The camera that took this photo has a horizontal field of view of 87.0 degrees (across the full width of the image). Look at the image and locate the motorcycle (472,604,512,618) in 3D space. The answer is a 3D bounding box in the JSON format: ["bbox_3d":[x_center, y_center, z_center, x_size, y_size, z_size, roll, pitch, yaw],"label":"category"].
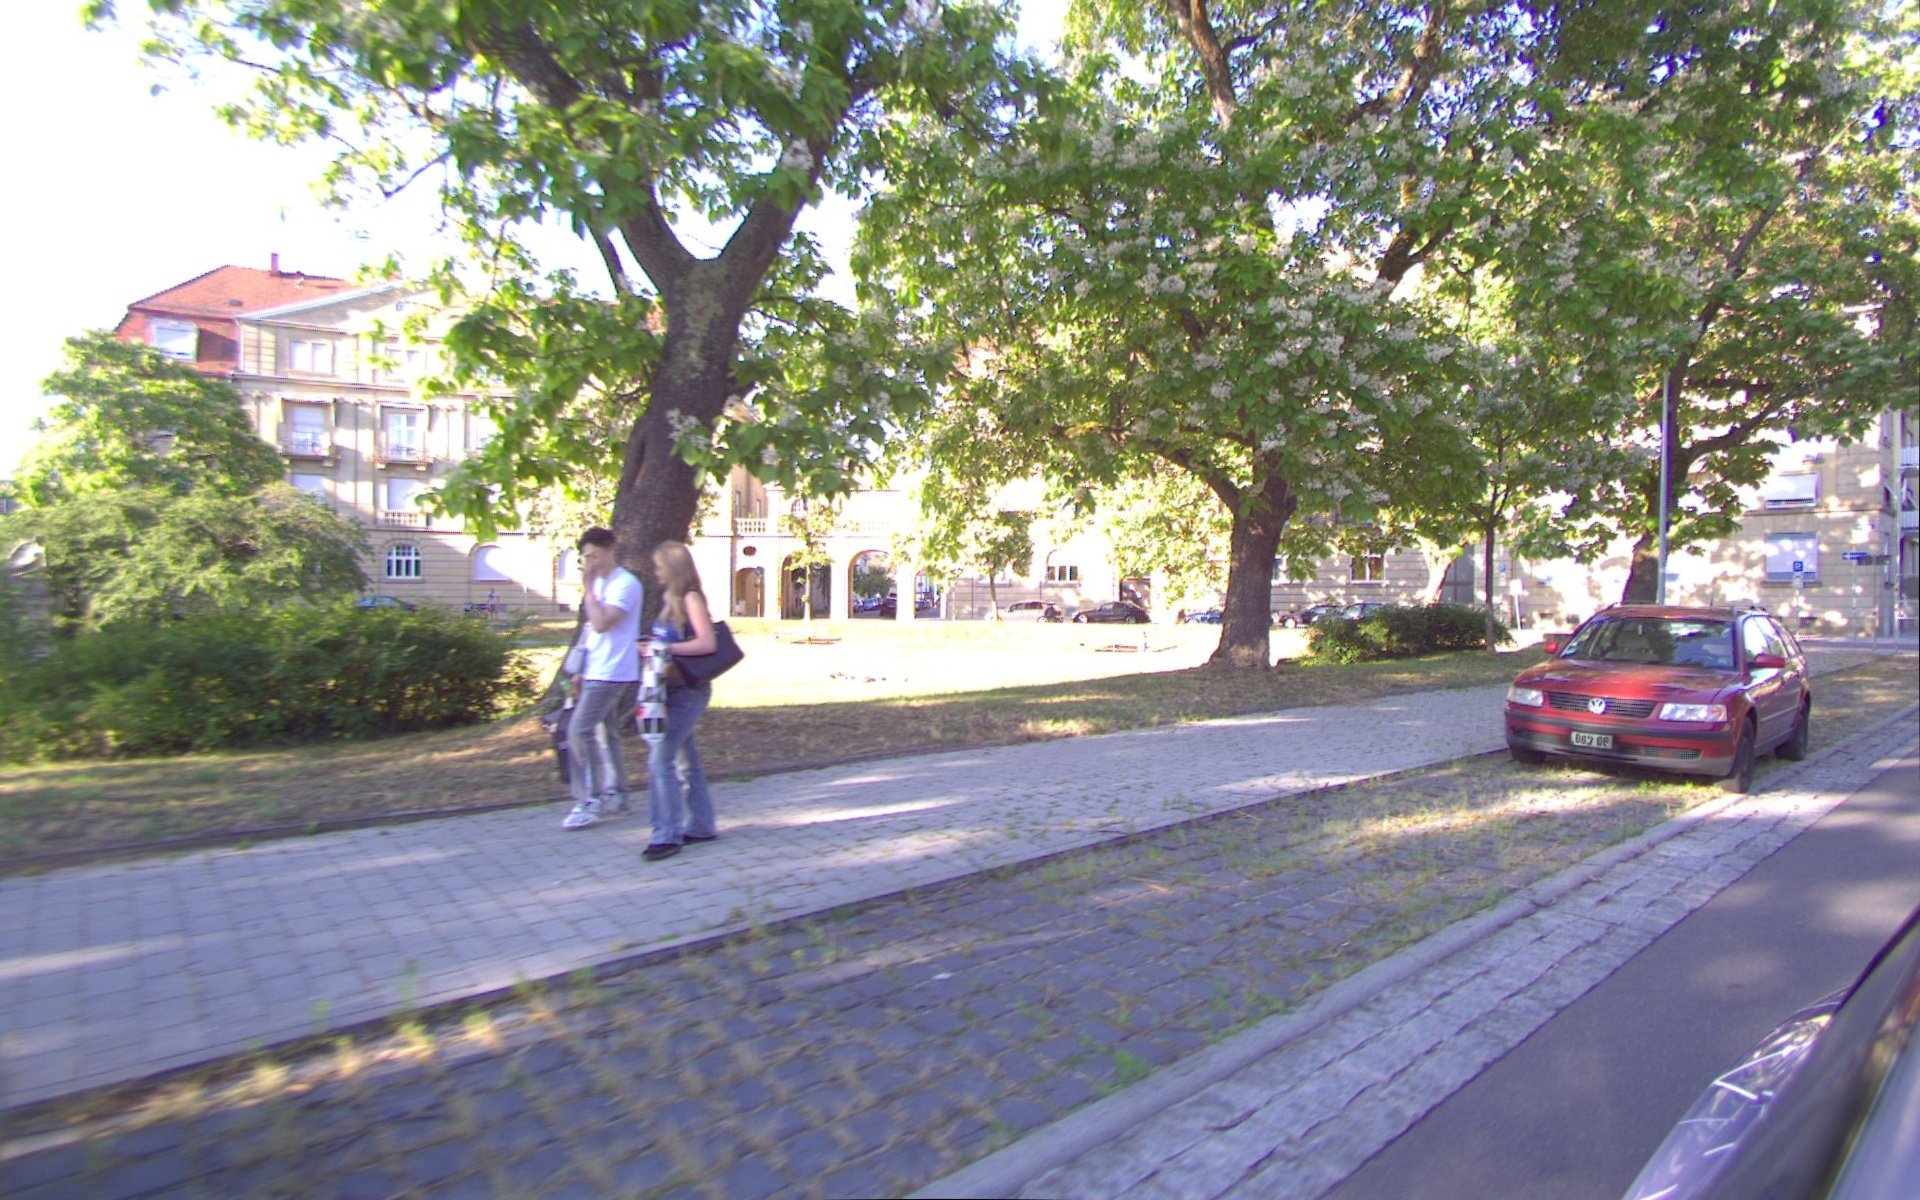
[{"bbox_3d":[-24.351,0.573,52.683,1.825,0.679,0.682,0,1,-38],"label":"motorcycle"}]

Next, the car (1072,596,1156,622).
[{"bbox_3d":[8.874,0.481,58.254,4.589,1.435,1.809,0,1,19],"label":"car"}]

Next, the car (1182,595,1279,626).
[{"bbox_3d":[13.245,0.479,49.617,4.395,1.435,1.552,0,1,27],"label":"car"}]

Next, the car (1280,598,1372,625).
[{"bbox_3d":[19.186,0.575,53.155,4.412,1.341,1.491,1,1,28],"label":"car"}]

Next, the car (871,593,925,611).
[{"bbox_3d":[-5.037,0.120,82.163,4.283,1.435,1.822,0,1,-5],"label":"car"}]

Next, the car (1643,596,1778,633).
[{"bbox_3d":[31.904,0.583,43.111,4.440,1.436,1.905,1,1,45],"label":"car"}]

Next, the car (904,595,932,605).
[{"bbox_3d":[-6.473,0.003,156.817,4.288,1.435,1.820,0,1,0],"label":"car"}]

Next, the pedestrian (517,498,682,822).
[{"bbox_3d":[-2.141,0.328,6.007,0.718,1.758,0.726,1,-1,-40],"label":"pedestrian"}]

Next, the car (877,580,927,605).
[{"bbox_3d":[-5.061,-0.641,88.449,4.286,2.134,1.821,0,0,-3],"label":"car"}]

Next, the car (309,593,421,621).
[{"bbox_3d":[-31.362,0.334,53.487,4.845,1.435,1.823,0,1,-16],"label":"car"}]

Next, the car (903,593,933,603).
[{"bbox_3d":[-5.961,-0.242,143.725,4.288,1.435,1.820,0,1,0],"label":"car"}]

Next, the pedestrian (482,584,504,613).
[{"bbox_3d":[-24.322,-0.075,52.696,0.933,1.493,0.682,0,0,-38],"label":"pedestrian"}]

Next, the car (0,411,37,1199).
[{"bbox_3d":[-3.569,0.579,0.580,4.435,1.761,1.681,-1,1,-41],"label":"car"}]

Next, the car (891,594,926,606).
[{"bbox_3d":[-6.367,0.017,125.286,4.288,1.435,1.820,0,1,0],"label":"car"}]

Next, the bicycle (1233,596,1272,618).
[{"bbox_3d":[17.031,0.383,58.922,2.102,1.245,0.609,0,0,26],"label":"bicycle"}]

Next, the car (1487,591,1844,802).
[{"bbox_3d":[6.801,0.678,9.520,4.726,1.504,1.681,-1,1,-41],"label":"car"}]

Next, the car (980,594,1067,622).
[{"bbox_3d":[3.382,0.389,53.882,4.317,1.435,1.808,0,1,20],"label":"car"}]

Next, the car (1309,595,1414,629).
[{"bbox_3d":[18.507,0.530,46.712,4.330,1.435,1.826,1,1,30],"label":"car"}]

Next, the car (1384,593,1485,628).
[{"bbox_3d":[23.570,0.502,50.317,4.419,1.620,1.782,1,1,32],"label":"car"}]

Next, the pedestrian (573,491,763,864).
[{"bbox_3d":[-1.537,0.368,5.306,0.718,1.758,0.754,1,-1,-40],"label":"pedestrian"}]
